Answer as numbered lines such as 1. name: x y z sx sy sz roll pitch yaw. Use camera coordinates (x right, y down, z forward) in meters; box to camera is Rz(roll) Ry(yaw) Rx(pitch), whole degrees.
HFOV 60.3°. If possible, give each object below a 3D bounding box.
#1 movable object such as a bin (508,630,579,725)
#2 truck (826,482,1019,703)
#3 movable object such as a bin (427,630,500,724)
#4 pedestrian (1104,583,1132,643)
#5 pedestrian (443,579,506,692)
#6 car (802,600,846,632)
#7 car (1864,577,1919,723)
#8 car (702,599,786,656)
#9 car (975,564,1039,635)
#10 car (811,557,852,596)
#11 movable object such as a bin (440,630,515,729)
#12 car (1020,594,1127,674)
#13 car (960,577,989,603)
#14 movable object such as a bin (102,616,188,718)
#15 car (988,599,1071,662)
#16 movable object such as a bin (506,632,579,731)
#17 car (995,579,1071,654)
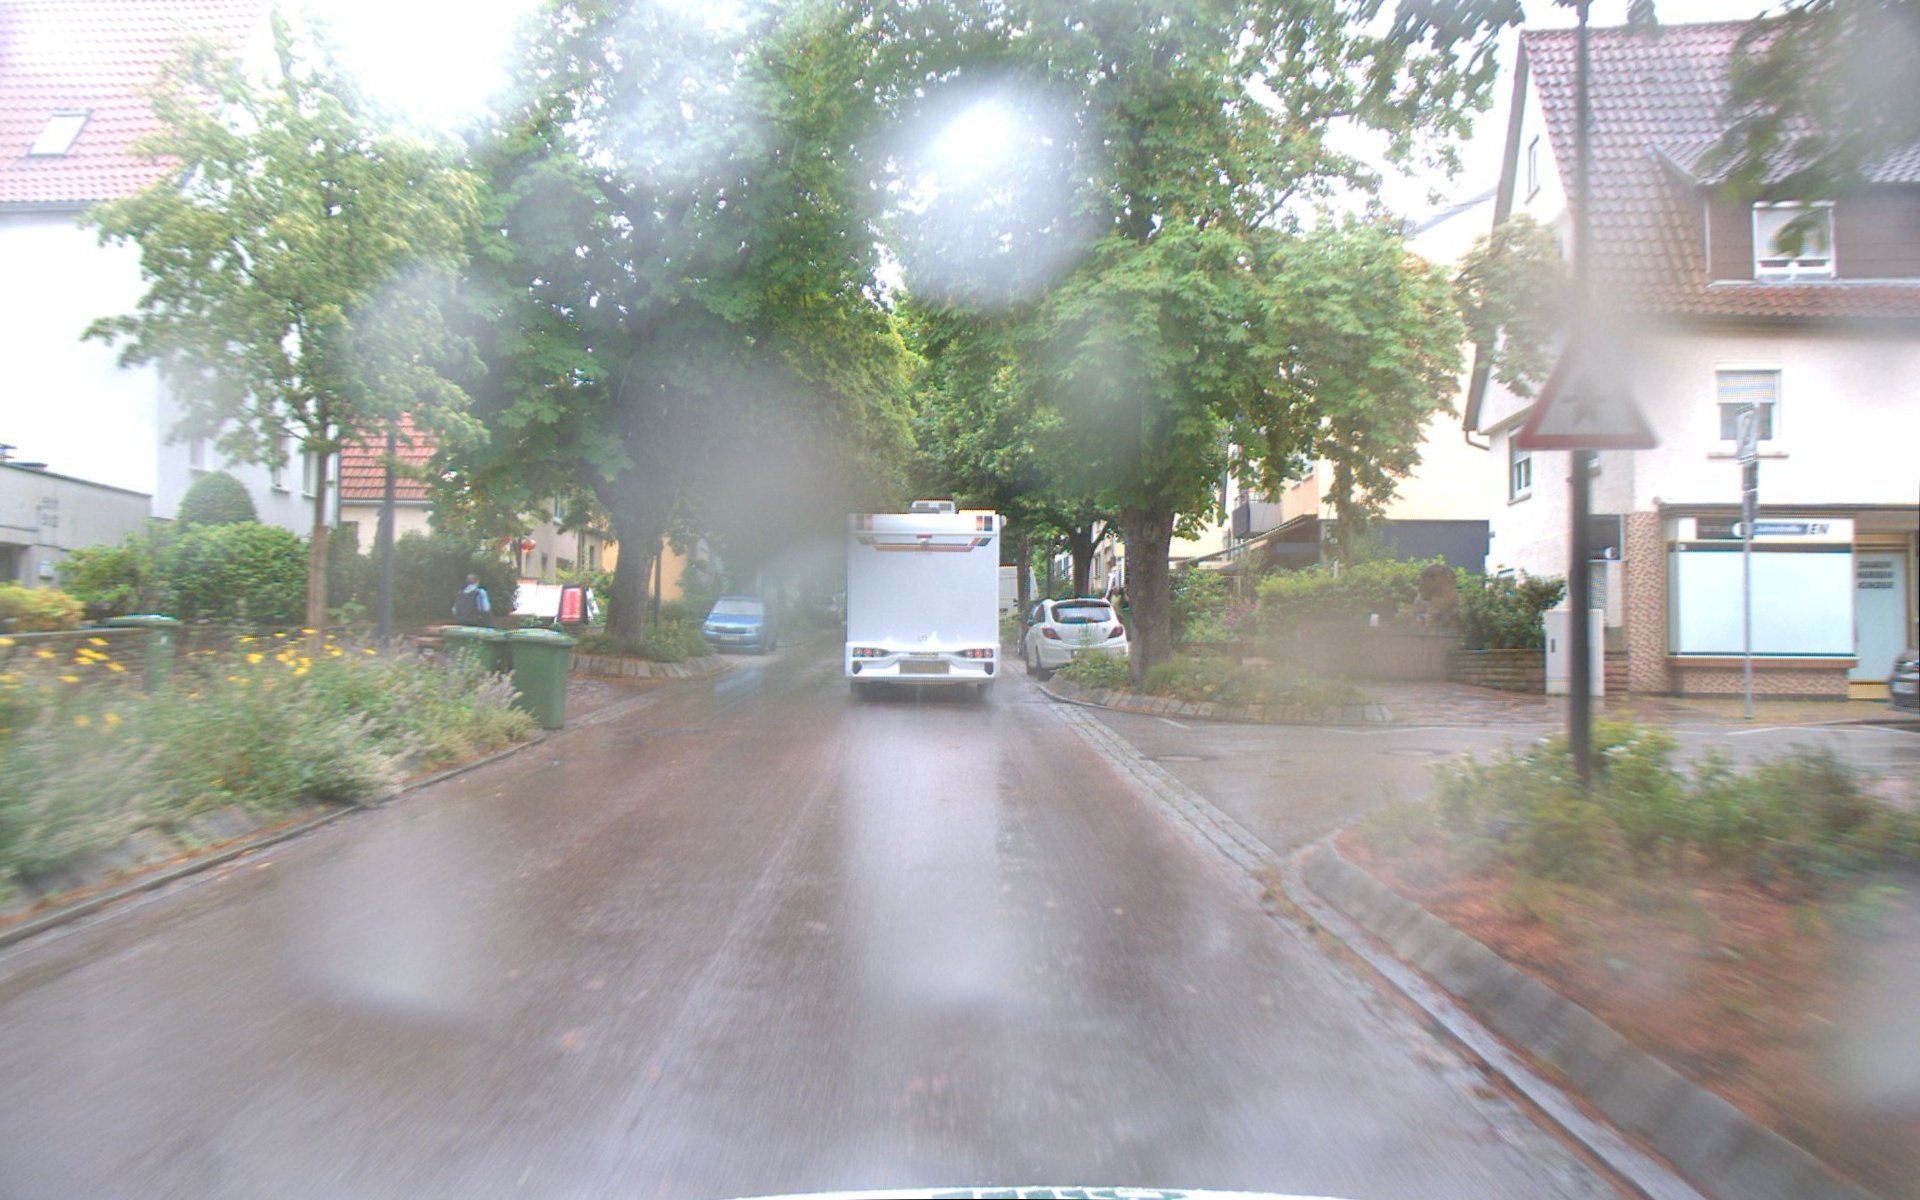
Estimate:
1. movable object such as a bin: -4.882 0.904 19.414 0.649 1.086 0.596 0 -1 3
2. truck: -0.568 -0.097 26.105 2.640 3.038 6.235 1 0 -1
3. movable object such as a bin: -5.831 0.897 19.449 0.649 1.093 0.596 0 -1 3
4. pedestrian: 4.676 0.378 48.994 0.750 1.762 0.493 0 0 17
5. pedestrian: -7.139 0.520 24.350 0.637 1.622 0.932 1 0 -1
6. car: -6.579 0.761 80.338 1.736 1.413 4.545 2 0 0
7. car: 12.679 0.521 18.501 4.093 1.611 1.841 -1 0 5
8. car: -5.634 0.693 43.463 1.714 1.420 3.795 1 0 0
9. car: 1.688 -0.014 61.714 2.097 2.503 5.434 1 0 -1
10. car: -7.033 -1.271 90.904 1.953 2.049 3.999 1 0 -1
11. movable object such as a bin: -5.464 0.890 18.746 0.649 1.093 0.596 0 -1 3
12. car: 2.098 0.611 31.475 1.646 1.424 3.793 0 0 -2
13. car: 1.011 -0.729 118.463 1.875 1.823 4.487 1 0 -1
14. movable object such as a bin: -9.458 0.770 19.210 0.649 1.153 0.659 1 0 1
15. car: 1.654 0.705 40.567 1.772 1.435 3.782 1 0 -1
16. movable object such as a bin: -4.697 0.906 18.642 0.649 1.093 0.596 0 -1 3
17. car: 2.102 0.465 48.362 1.953 2.049 3.999 1 0 -1
